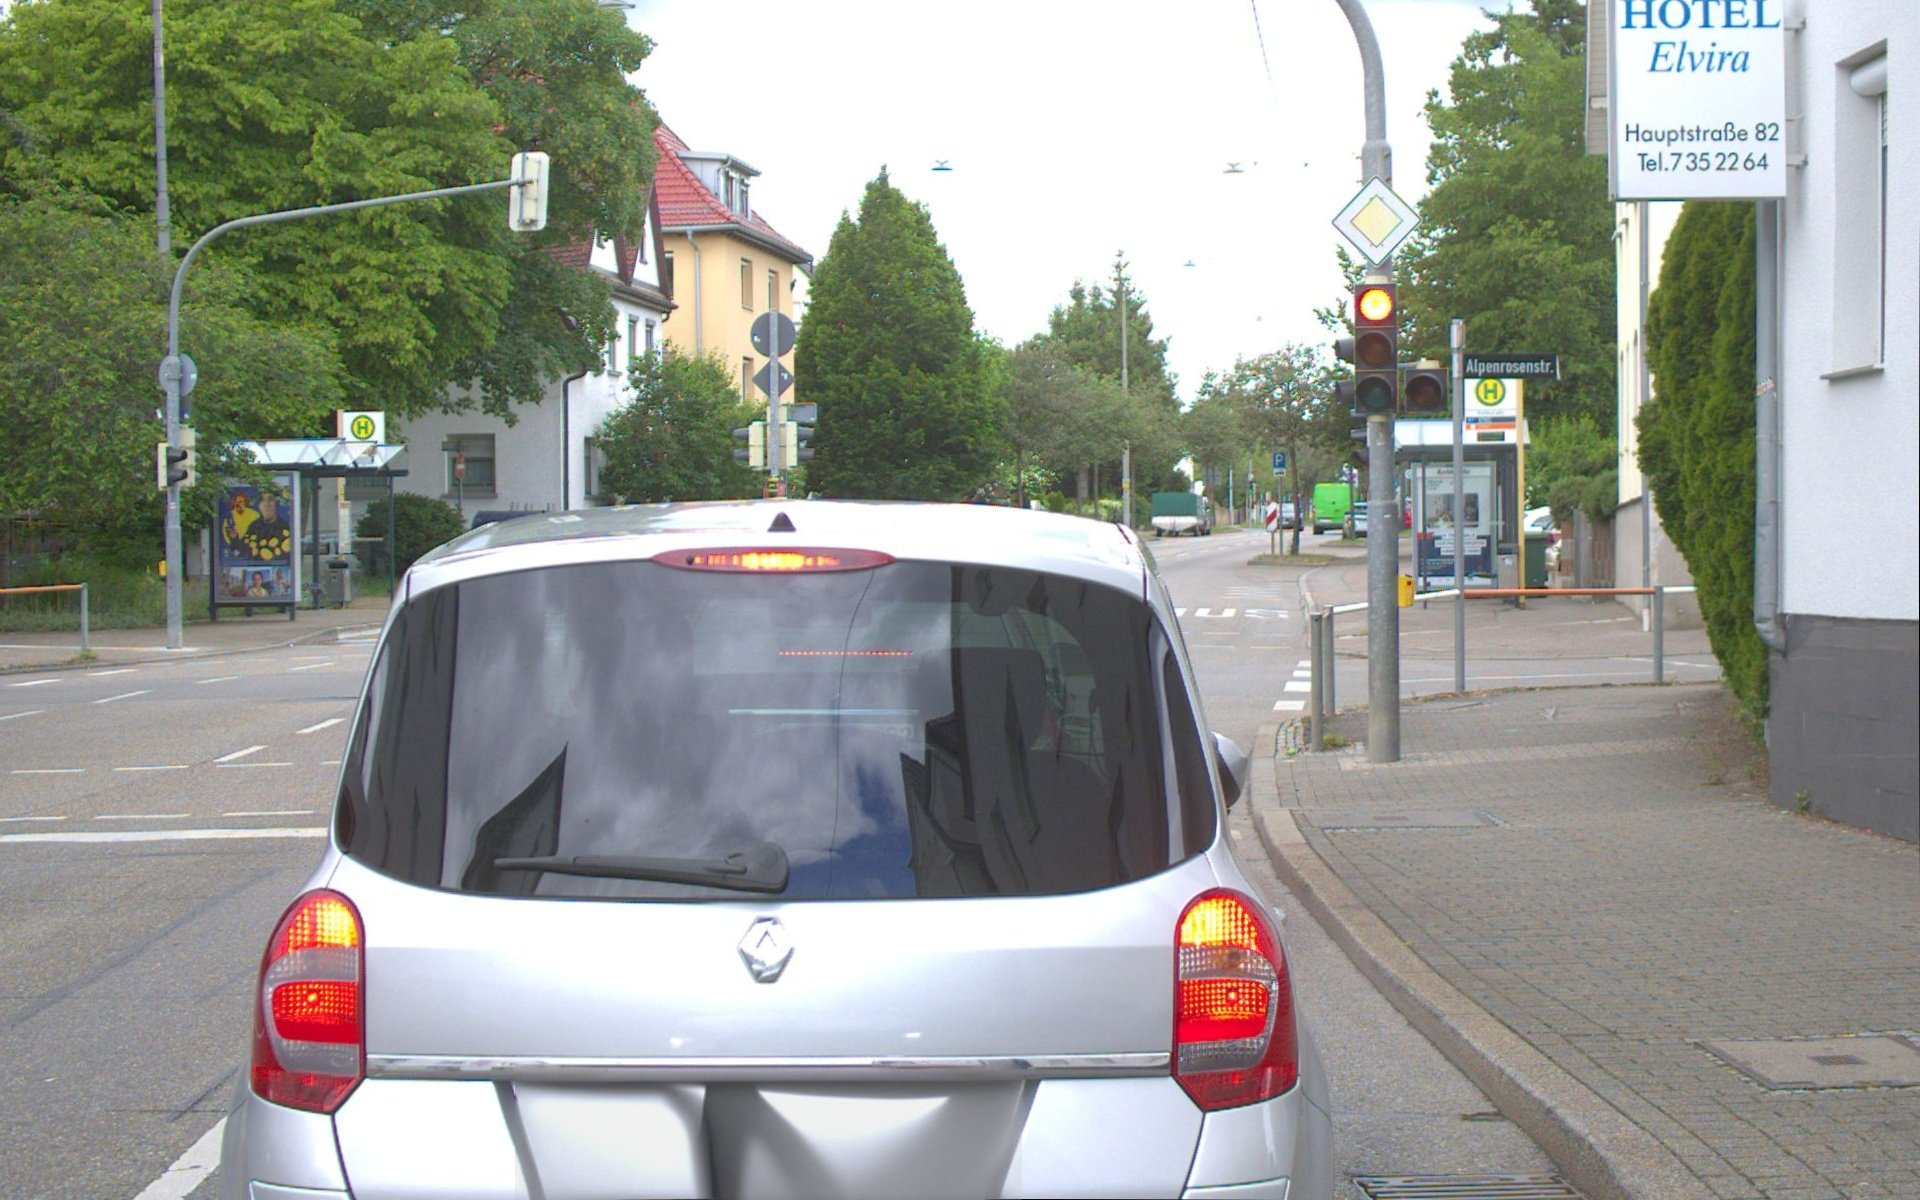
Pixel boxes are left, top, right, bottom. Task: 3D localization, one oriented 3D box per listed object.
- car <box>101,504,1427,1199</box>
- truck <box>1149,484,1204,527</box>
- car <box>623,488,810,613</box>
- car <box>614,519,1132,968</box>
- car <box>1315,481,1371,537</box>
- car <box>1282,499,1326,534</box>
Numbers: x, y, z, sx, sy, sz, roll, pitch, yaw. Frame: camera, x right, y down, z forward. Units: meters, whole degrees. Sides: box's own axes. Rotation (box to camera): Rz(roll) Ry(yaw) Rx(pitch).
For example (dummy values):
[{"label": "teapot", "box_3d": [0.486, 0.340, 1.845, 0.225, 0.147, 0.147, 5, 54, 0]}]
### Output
[{"label": "car", "box_3d": [-0.296, 0.610, 6.574, 1.755, 1.525, 4.000, 0, 1, -1]}, {"label": "truck", "box_3d": [10.501, -4.556, 166.508, 2.102, 2.007, 5.745, 1, 1, 9]}, {"label": "car", "box_3d": [-3.791, -0.800, 54.197, 1.927, 1.767, 3.999, -4, 1, 10]}, {"label": "car", "box_3d": [-0.330, 0.461, 13.641, 1.755, 1.525, 3.797, 0, 1, -1]}, {"label": "car", "box_3d": [17.529, -4.129, 157.256, 2.060, 2.503, 5.593, 1, 1, 11]}, {"label": "car", "box_3d": [17.673, -4.267, 176.417, 1.858, 1.742, 3.998, 1, 1, 11]}]
